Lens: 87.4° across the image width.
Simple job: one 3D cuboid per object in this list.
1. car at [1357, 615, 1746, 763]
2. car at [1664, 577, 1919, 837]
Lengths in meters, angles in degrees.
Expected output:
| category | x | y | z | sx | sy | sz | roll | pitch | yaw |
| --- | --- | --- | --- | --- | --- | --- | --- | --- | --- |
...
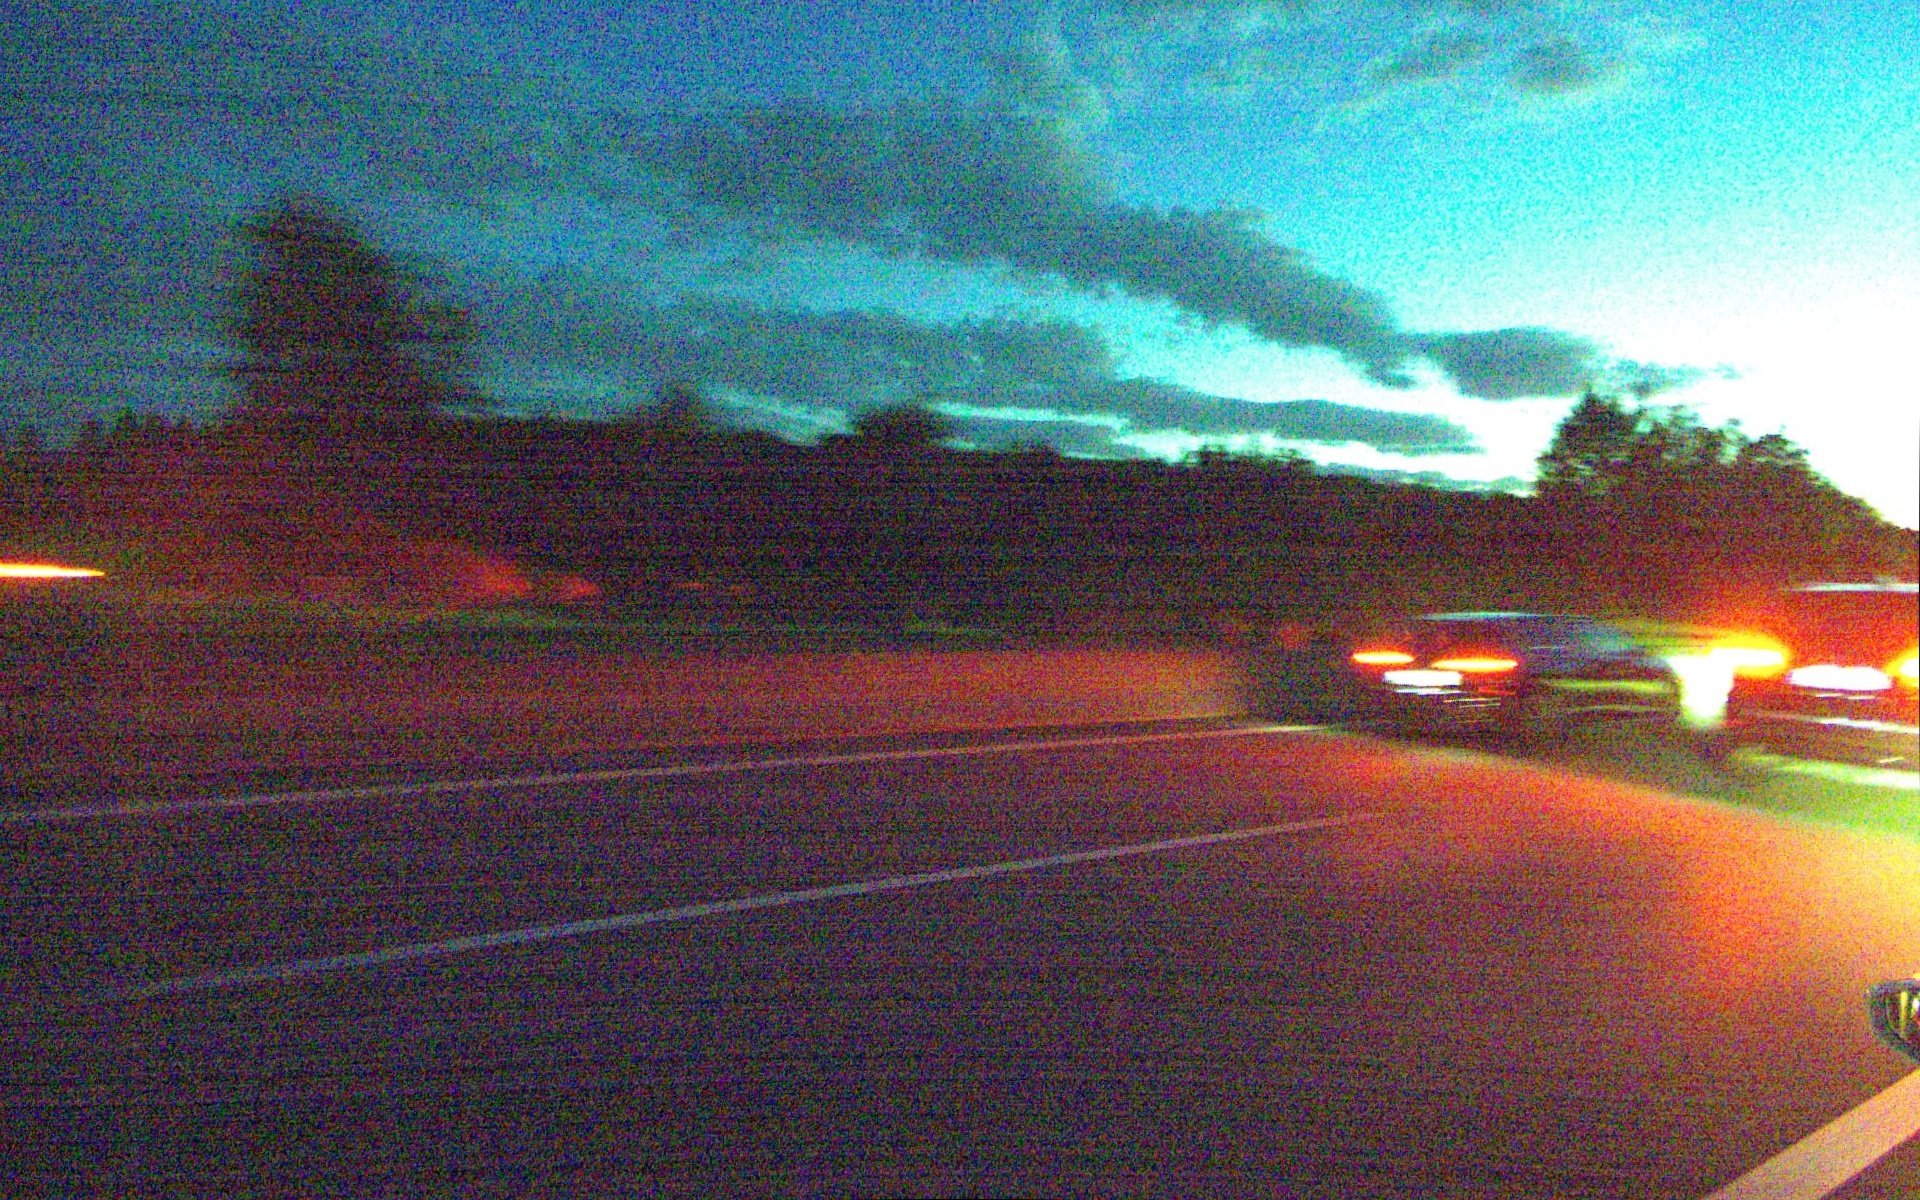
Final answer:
| category | x | y | z | sx | sy | sz | roll | pitch | yaw |
| --- | --- | --- | --- | --- | --- | --- | --- | --- | --- |
| car | 7.207 | 0.973 | 12.006 | 5.449 | 1.450 | 1.542 | 2 | -1 | -30 |
| car | 8.717 | 0.810 | 8.709 | 5.871 | 1.744 | 1.984 | 2 | -1 | -30 |
